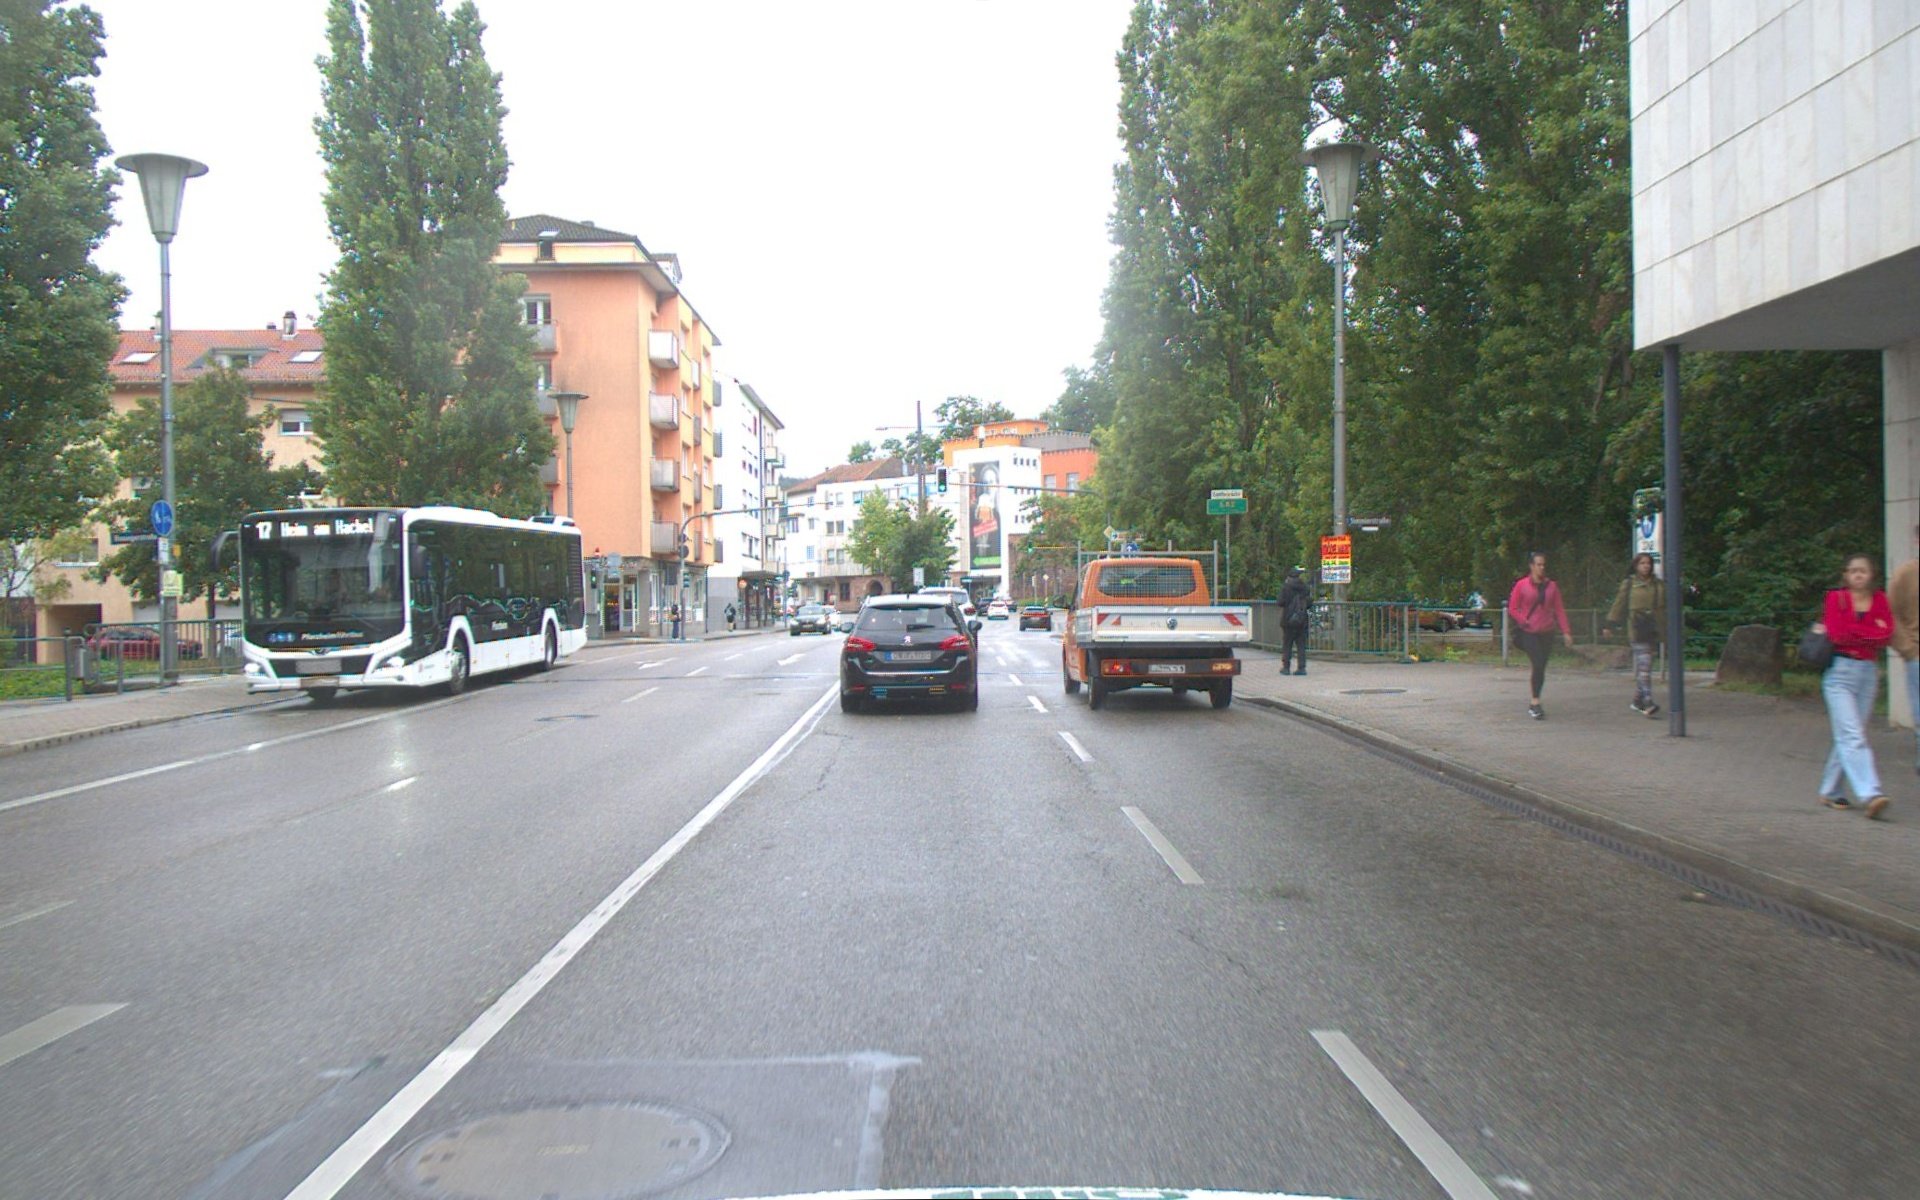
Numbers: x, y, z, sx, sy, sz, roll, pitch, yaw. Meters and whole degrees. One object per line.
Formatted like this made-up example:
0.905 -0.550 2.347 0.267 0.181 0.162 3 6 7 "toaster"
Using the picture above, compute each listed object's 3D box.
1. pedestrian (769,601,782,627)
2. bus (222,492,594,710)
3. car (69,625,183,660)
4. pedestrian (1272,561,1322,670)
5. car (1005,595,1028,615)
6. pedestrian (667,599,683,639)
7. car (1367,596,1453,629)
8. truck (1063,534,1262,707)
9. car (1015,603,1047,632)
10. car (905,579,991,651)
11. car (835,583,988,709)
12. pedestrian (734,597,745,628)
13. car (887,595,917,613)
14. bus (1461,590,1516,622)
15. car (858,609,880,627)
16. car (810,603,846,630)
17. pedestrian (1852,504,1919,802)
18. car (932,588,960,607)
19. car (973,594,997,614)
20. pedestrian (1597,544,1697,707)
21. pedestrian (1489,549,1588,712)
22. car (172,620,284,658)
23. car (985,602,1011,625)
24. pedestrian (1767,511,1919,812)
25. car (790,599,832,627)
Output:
-14.494 1.118 129.982 0.719 2.049 0.650 4 -3 -34 "pedestrian"
-9.395 -0.132 30.241 2.688 3.129 12.237 -1 1 0 "bus"
-35.492 1.807 70.452 3.905 1.412 1.899 -1 0 0 "car"
5.389 0.238 26.467 0.627 1.693 0.563 -2 1 -2 "pedestrian"
5.343 0.473 157.033 1.953 1.853 3.999 -1 0 -1 "car"
-12.752 0.855 73.954 0.519 1.757 0.649 -1 0 3 "pedestrian"
23.894 0.647 87.831 4.040 1.649 1.804 -1 0 -5 "car"
2.584 0.246 22.229 2.078 2.061 4.715 1 0 0 "truck"
4.199 1.061 98.179 1.611 1.592 3.599 2 -2 -1 "car"
-0.216 0.335 37.387 1.757 1.509 4.001 -1 0 2 "car"
-0.556 0.584 22.008 1.757 1.509 4.001 1 -1 2 "car"
-13.691 0.759 102.795 0.626 1.893 0.523 0 0 -2 "pedestrian"
-5.691 0.429 160.944 1.624 1.592 3.571 3 -3 -25 "car"
30.035 0.352 94.129 1.952 1.754 4.001 0 0 2 "bus"
-7.621 1.482 138.768 1.631 1.424 3.875 -2 0 -1 "car"
-7.799 0.954 97.963 1.798 1.536 4.820 -1 0 -1 "car"
6.199 0.311 10.488 0.684 1.833 0.606 -2 0 -1 "pedestrian"
-1.282 -0.212 153.011 1.957 1.713 3.990 -1 0 -10 "car"
2.258 0.384 148.676 1.614 1.592 3.593 2 -2 -8 "car"
7.042 0.254 16.982 0.711 1.617 0.606 -2 0 -1 "pedestrian"
6.077 0.310 17.399 0.702 1.648 0.769 -2 0 -1 "pedestrian"
-31.287 1.659 70.782 3.905 1.412 1.899 -2 0 0 "car"
3.168 1.094 138.454 1.953 1.853 3.999 0 0 -1 "car"
5.685 0.366 10.462 0.640 1.798 0.922 -2 0 -1 "pedestrian"
-7.388 0.625 82.317 1.755 1.348 4.405 -1 0 -1 "car"
